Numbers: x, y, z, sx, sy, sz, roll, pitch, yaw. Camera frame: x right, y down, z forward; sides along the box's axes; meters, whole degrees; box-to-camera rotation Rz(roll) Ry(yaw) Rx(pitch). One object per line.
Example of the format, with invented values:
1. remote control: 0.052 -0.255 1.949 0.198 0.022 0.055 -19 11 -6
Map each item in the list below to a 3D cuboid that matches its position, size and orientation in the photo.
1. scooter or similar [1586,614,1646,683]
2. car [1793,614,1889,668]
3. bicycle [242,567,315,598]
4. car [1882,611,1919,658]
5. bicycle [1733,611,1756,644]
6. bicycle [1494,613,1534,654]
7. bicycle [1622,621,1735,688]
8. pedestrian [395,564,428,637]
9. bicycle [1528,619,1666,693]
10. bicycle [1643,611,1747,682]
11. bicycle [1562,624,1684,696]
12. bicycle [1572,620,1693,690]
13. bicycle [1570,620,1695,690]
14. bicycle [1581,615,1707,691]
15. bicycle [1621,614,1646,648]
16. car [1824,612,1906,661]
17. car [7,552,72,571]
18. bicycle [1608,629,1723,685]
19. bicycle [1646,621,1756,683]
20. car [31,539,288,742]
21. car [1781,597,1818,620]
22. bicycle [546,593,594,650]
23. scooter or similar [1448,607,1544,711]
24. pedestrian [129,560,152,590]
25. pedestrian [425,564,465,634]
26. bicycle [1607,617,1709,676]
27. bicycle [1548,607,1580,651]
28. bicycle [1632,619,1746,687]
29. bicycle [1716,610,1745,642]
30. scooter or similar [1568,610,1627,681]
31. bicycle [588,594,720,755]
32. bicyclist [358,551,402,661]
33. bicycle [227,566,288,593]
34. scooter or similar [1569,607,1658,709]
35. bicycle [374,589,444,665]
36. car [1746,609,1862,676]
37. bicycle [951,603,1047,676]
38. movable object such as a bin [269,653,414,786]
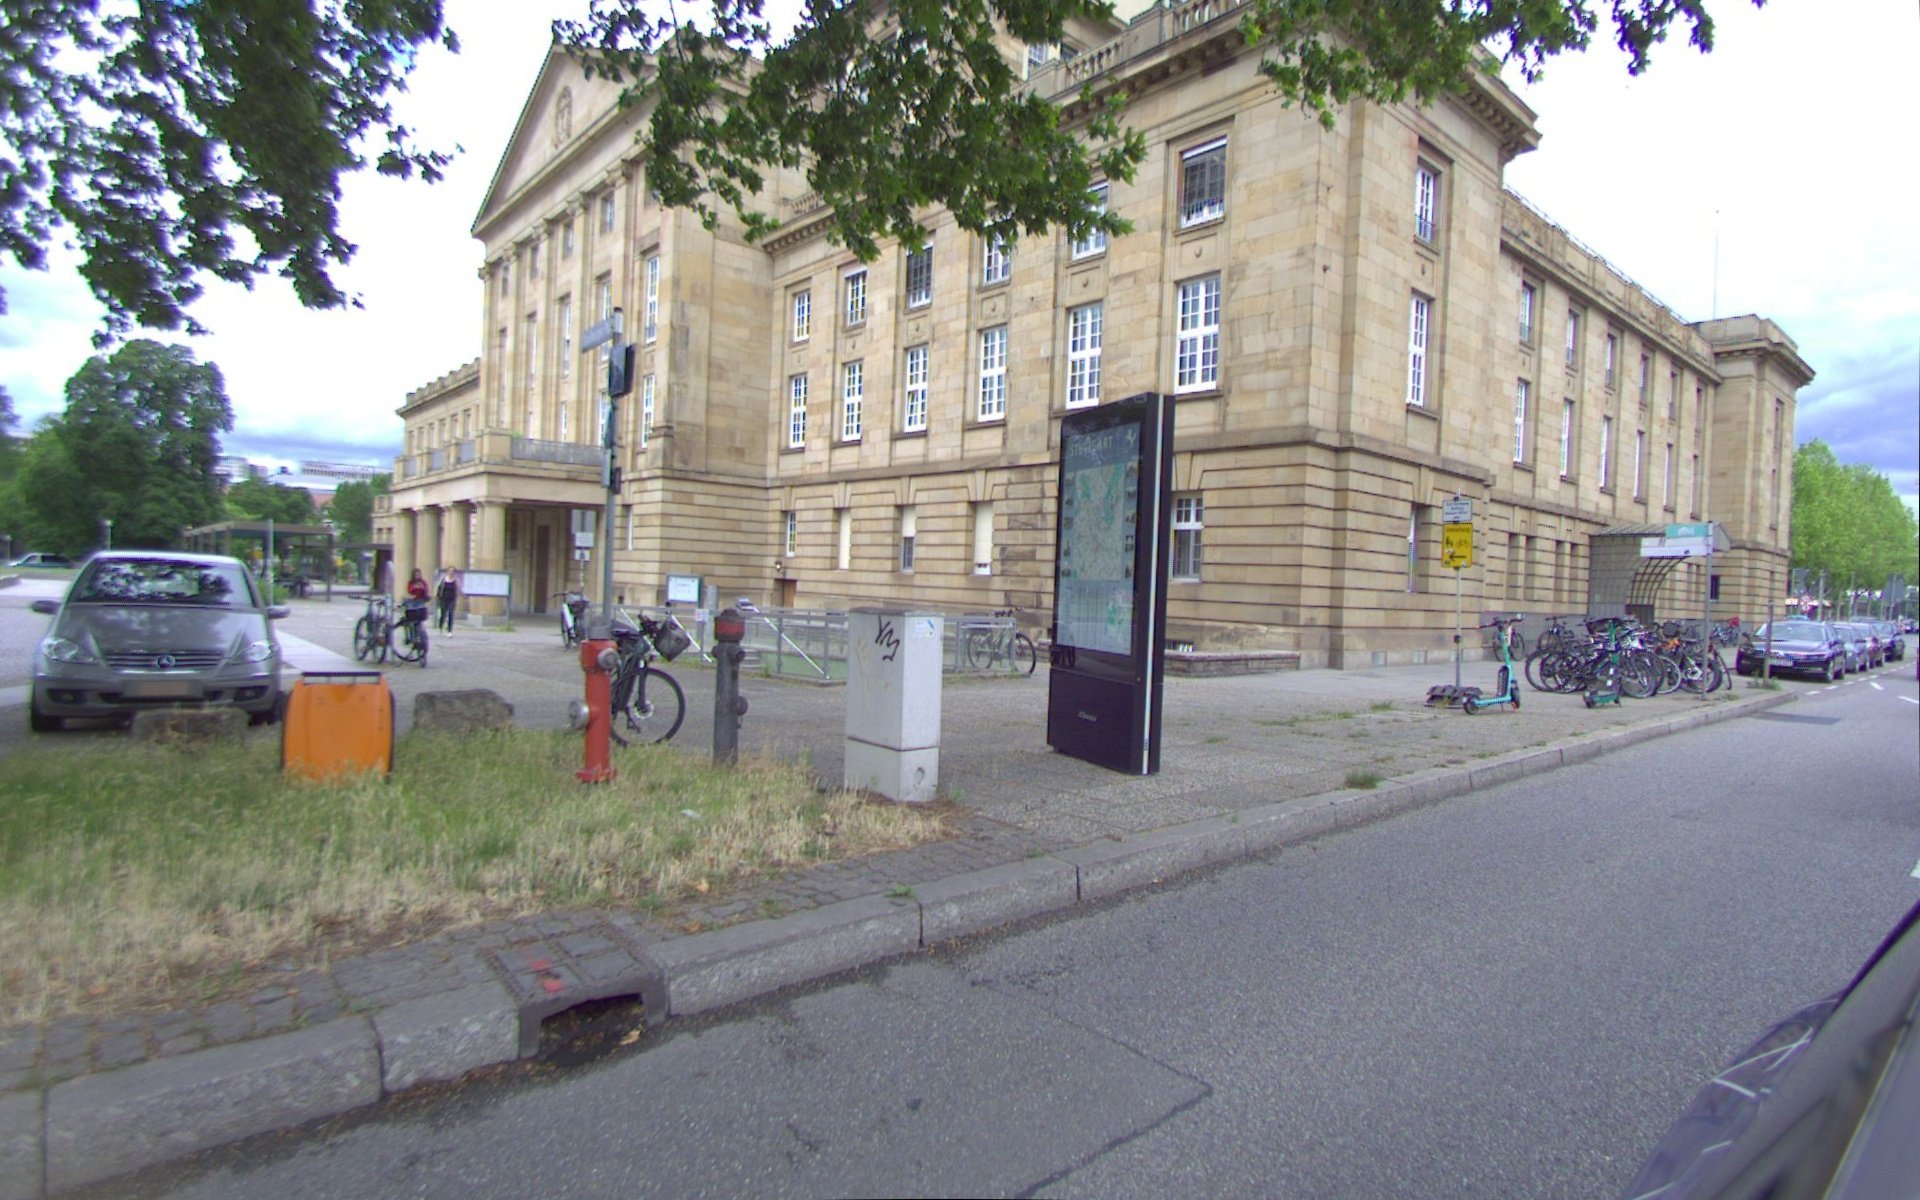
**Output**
1. scooter or similar: 12.315 0.896 18.980 1.286 1.240 0.427 0 -1 -31
2. car: 26.669 1.185 30.598 3.928 1.443 1.711 1 2 -43
3. bicycle: -33.448 -0.833 49.694 0.959 1.444 2.852 -1 -1 45
4. car: 34.853 1.260 36.714 3.642 1.571 1.549 1 2 -40
5. bicycle: 32.297 1.116 41.654 1.759 1.304 0.413 1 1 -42
6. bicycle: 13.987 0.828 25.531 1.929 1.010 0.240 1 1 -42
7. bicycle: 13.031 0.970 18.400 1.596 1.144 0.466 1 -1 24
8. pedestrian: -13.048 0.005 24.064 0.559 1.716 0.430 2 0 -42
9. bicycle: 10.527 0.896 16.799 0.652 1.105 1.866 1 0 -28
10. bicycle: 14.040 0.860 19.378 0.532 1.273 1.550 1 0 -22
11. bicycle: 11.095 0.980 16.998 0.417 1.105 1.736 1 0 -28
12. bicycle: 11.419 0.907 17.243 0.373 1.105 1.736 1 0 -28
13. bicycle: 11.682 0.927 17.621 0.563 1.105 1.735 1 0 -32
14. bicycle: 12.035 0.903 17.855 0.594 1.224 1.759 2 -1 -44
15. bicycle: 21.688 0.993 32.558 1.827 1.042 0.222 1 -1 -42
16. car: 30.567 1.196 34.156 3.792 1.473 1.618 1 2 -42
17. car: -96.734 -4.051 106.419 4.822 1.761 2.077 0 -1 -38
18. bicycle: 13.454 1.066 19.367 0.601 0.928 1.737 1 1 -22
19. bicycle: 14.319 0.992 19.607 0.573 1.088 1.671 1 0 -21
20. car: -7.839 0.275 9.906 1.649 1.588 3.844 1 1 -40
21. car: 56.779 0.574 68.433 3.445 1.549 1.581 1 0 -44
22. bicycle: -8.050 0.417 20.849 0.418 1.114 2.172 1 0 -35
23. scooter or similar: 7.030 0.745 13.258 1.405 1.297 0.433 1 0 -30
24. pedestrian: -50.202 -1.516 62.017 0.539 1.828 0.939 0 -1 22
25. pedestrian: -12.977 -0.028 25.504 0.692 1.744 0.680 2 0 -42
26. bicycle: 13.319 0.869 19.354 0.427 1.041 1.570 1 0 -29
27. bicycle: 16.768 0.804 28.090 1.510 1.198 0.276 1 0 -39
28. bicycle: 13.012 0.928 18.098 1.596 1.144 0.405 1 -1 24
29. bicycle: 30.992 1.049 40.702 1.882 1.232 0.556 1 1 -42
30. scooter or similar: 12.158 0.856 19.285 1.126 1.295 0.564 1 -1 -35
31. bicycle: -2.729 0.590 8.906 0.483 1.236 1.790 1 0 -38
32. bicyclist: -9.490 0.094 16.546 0.436 1.770 0.468 2 0 41
33. bicycle: -36.403 -1.034 52.482 2.533 1.362 0.726 0 -1 -41
34. scooter or similar: 9.246 0.784 14.297 1.389 1.348 0.726 1 0 -42
35. bicycle: -9.098 0.417 16.692 1.748 1.146 0.437 2 1 42
36. car: 21.477 1.012 25.692 4.253 1.504 1.790 1 1 -44
37. bicycle: 0.643 0.654 17.587 0.382 1.139 2.014 1 1 -41
38. movable object such as a bin: -3.894 0.703 6.386 0.714 0.660 1.304 0 0 -32
